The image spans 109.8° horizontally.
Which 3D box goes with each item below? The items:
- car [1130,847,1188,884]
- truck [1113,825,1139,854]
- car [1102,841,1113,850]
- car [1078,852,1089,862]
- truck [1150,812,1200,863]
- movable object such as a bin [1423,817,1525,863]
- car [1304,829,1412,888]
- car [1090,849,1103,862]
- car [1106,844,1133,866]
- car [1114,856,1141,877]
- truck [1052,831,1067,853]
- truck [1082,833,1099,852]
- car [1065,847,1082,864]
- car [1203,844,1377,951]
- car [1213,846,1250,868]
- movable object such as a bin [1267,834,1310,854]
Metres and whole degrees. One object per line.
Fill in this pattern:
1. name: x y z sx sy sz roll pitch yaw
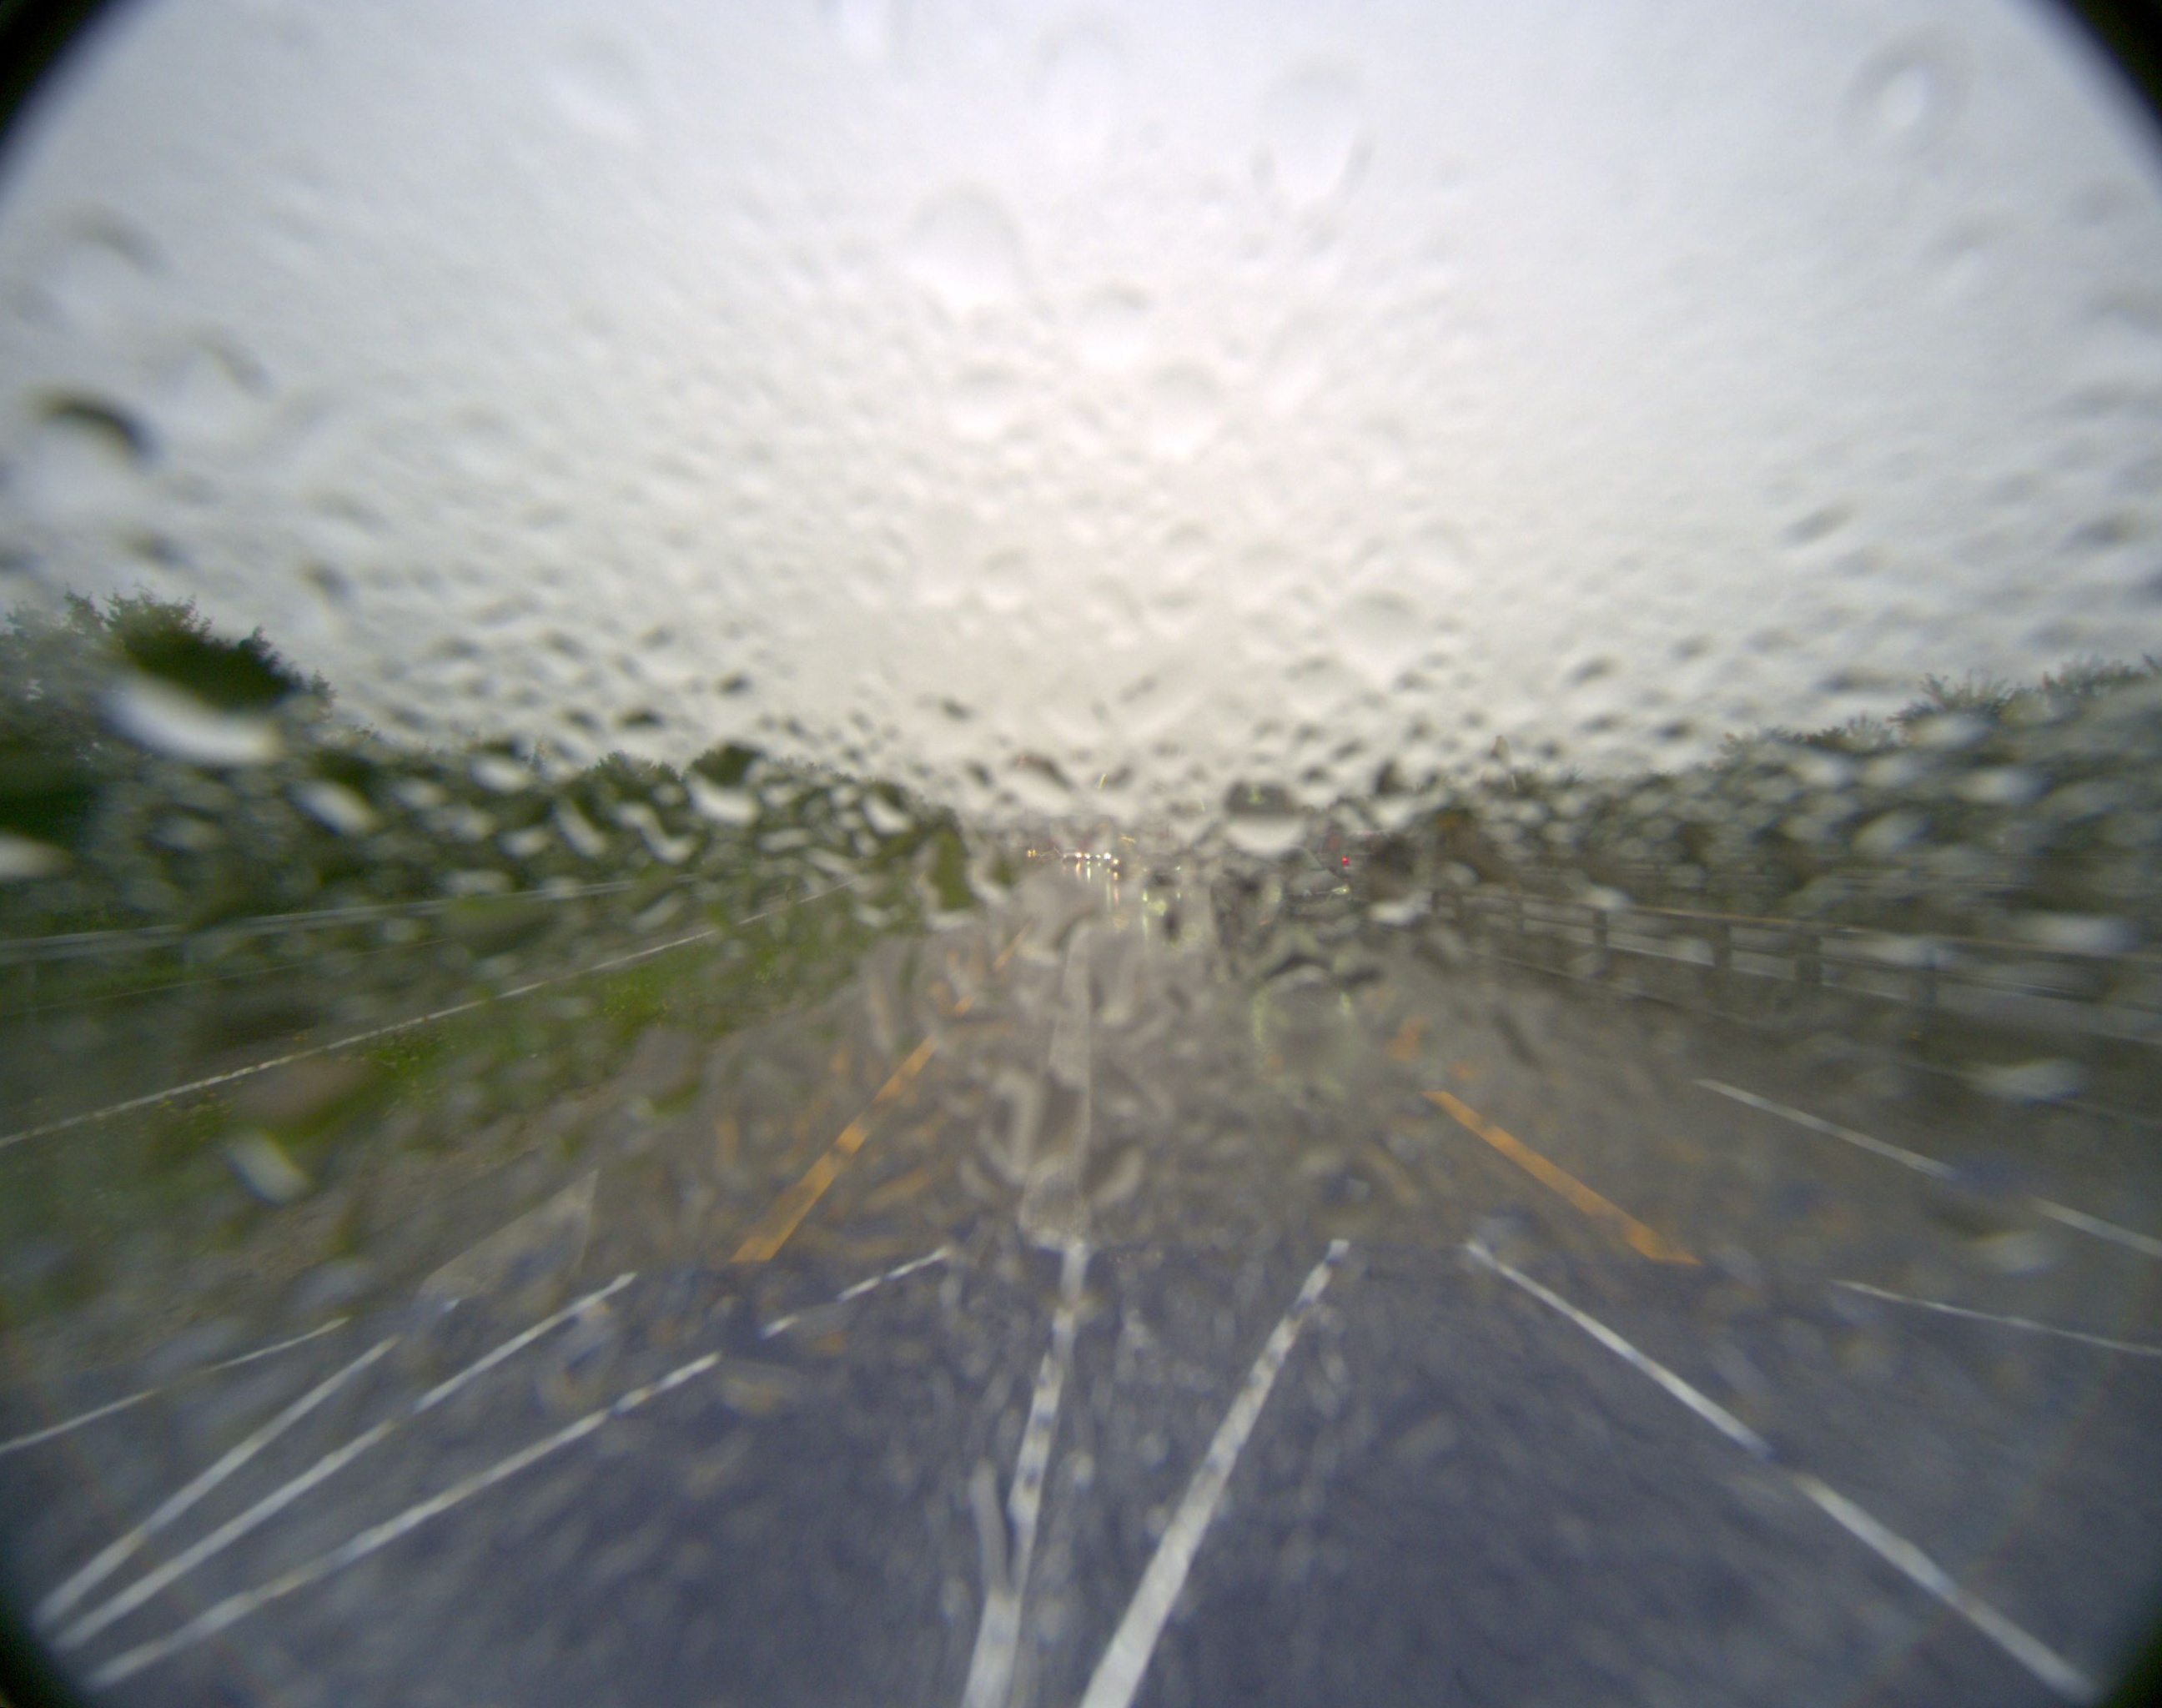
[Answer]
1. car: 3.412 0.470 34.004 1.999 1.489 4.630 -2 1 -1
2. truck: 8.018 -2.612 136.976 3.283 4.808 15.982 -2 1 -1
3. car: 5.594 -1.785 162.473 1.897 1.796 5.053 -2 1 -3
4. car: 0.392 0.438 130.084 1.845 1.586 3.999 -2 1 1
5. truck: 9.831 -1.665 81.373 3.282 4.808 15.983 -2 1 0
6. movable object such as a bin: 26.655 -0.933 51.960 3.774 2.782 6.329 -2 1 1
7. car: 9.508 0.122 26.576 1.896 1.796 5.054 -2 1 0
8. car: 2.195 0.266 108.535 1.695 1.740 3.999 -2 1 1
9. car: 3.723 0.040 74.744 2.211 2.002 5.562 -2 1 -1
10. car: 3.587 0.953 58.990 1.978 1.586 4.310 -1 -1 2
11. truck: -4.178 -2.323 149.892 2.484 4.061 8.703 -2 1 1
12. truck: 2.355 -2.927 196.445 3.593 4.808 15.980 -2 1 -2
13. car: -0.922 0.148 93.064 1.881 2.002 3.999 -2 1 1
14. car: 3.587 0.652 13.944 1.998 1.576 4.413 -2 1 1
15. car: 10.204 0.172 51.838 1.704 1.420 3.832 -2 1 0
16. movable object such as a bin: 25.476 -1.164 93.355 3.448 2.281 5.098 -2 1 -6
